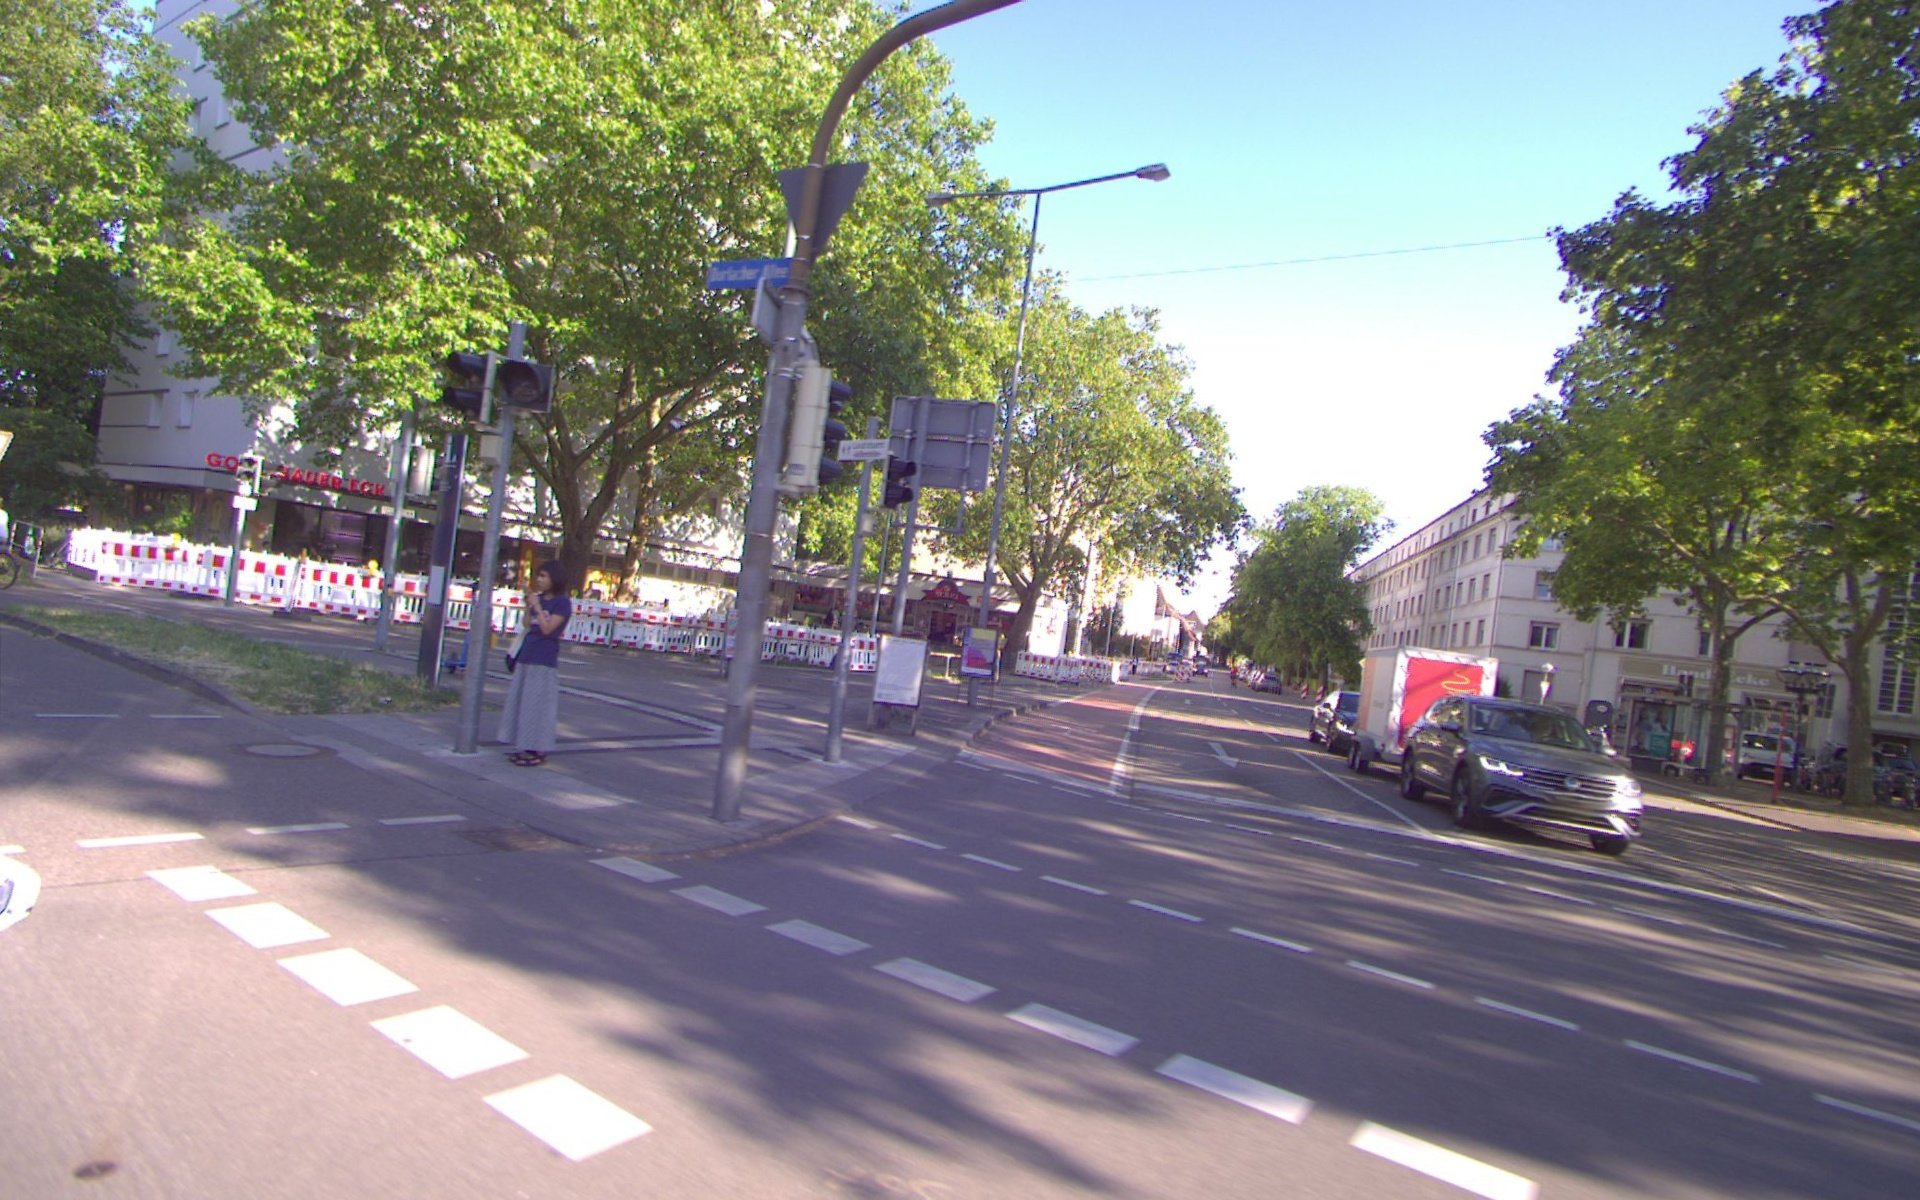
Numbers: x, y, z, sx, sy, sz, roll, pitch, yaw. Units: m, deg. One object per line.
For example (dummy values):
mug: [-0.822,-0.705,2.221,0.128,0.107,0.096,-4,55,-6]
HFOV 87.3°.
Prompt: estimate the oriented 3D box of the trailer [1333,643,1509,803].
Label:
trailer: [8.534,2.188,19.094,1.877,2.401,4.521,7,-2,13]

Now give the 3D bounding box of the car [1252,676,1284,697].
car: [24.212,6.803,79.099,1.899,1.375,4.447,7,-3,13]

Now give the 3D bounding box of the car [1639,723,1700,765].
car: [32.642,6.572,46.236,1.798,1.499,4.332,6,0,40]

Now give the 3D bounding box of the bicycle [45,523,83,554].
bicycle: [-40.814,-2.820,45.815,1.791,1.190,0.790,6,-3,35]

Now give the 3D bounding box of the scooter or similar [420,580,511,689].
scooter or similar: [-6.452,0.435,13.103,1.273,1.273,0.559,6,0,43]

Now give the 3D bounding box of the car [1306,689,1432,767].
car: [9.528,2.949,23.805,1.899,1.375,4.447,7,-3,13]

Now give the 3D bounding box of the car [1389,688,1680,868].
car: [7.195,2.128,13.212,1.899,1.657,4.589,7,-3,13]

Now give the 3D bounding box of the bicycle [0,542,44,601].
bicycle: [-18.282,-0.606,18.726,1.734,1.038,0.605,7,-1,-3]

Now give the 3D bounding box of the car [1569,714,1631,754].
car: [30.630,6.364,48.105,1.798,1.499,4.332,6,0,40]

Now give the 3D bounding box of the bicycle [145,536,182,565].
bicycle: [-38.647,-2.396,48.799,1.791,1.190,0.790,6,-3,35]

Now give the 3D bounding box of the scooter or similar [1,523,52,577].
scooter or similar: [-24.121,-1.293,25.993,1.268,1.273,0.561,6,0,31]

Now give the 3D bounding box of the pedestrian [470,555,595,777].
pedestrian: [-3.400,0.517,8.018,0.602,1.658,0.429,7,-1,27]

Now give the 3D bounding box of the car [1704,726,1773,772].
car: [34.864,6.633,45.148,1.701,1.499,4.345,6,0,30]

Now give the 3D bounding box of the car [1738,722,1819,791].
car: [28.814,5.456,35.517,1.735,1.894,4.339,6,0,35]

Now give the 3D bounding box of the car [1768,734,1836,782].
car: [36.168,6.754,43.306,1.735,1.499,4.339,6,0,35]

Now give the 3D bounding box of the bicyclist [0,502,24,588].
bicyclist: [-18.235,-1.075,18.732,0.844,1.569,0.605,7,0,-3]

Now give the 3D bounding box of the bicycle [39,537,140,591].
bicycle: [-21.637,-0.891,25.020,1.917,1.038,0.605,8,0,2]
